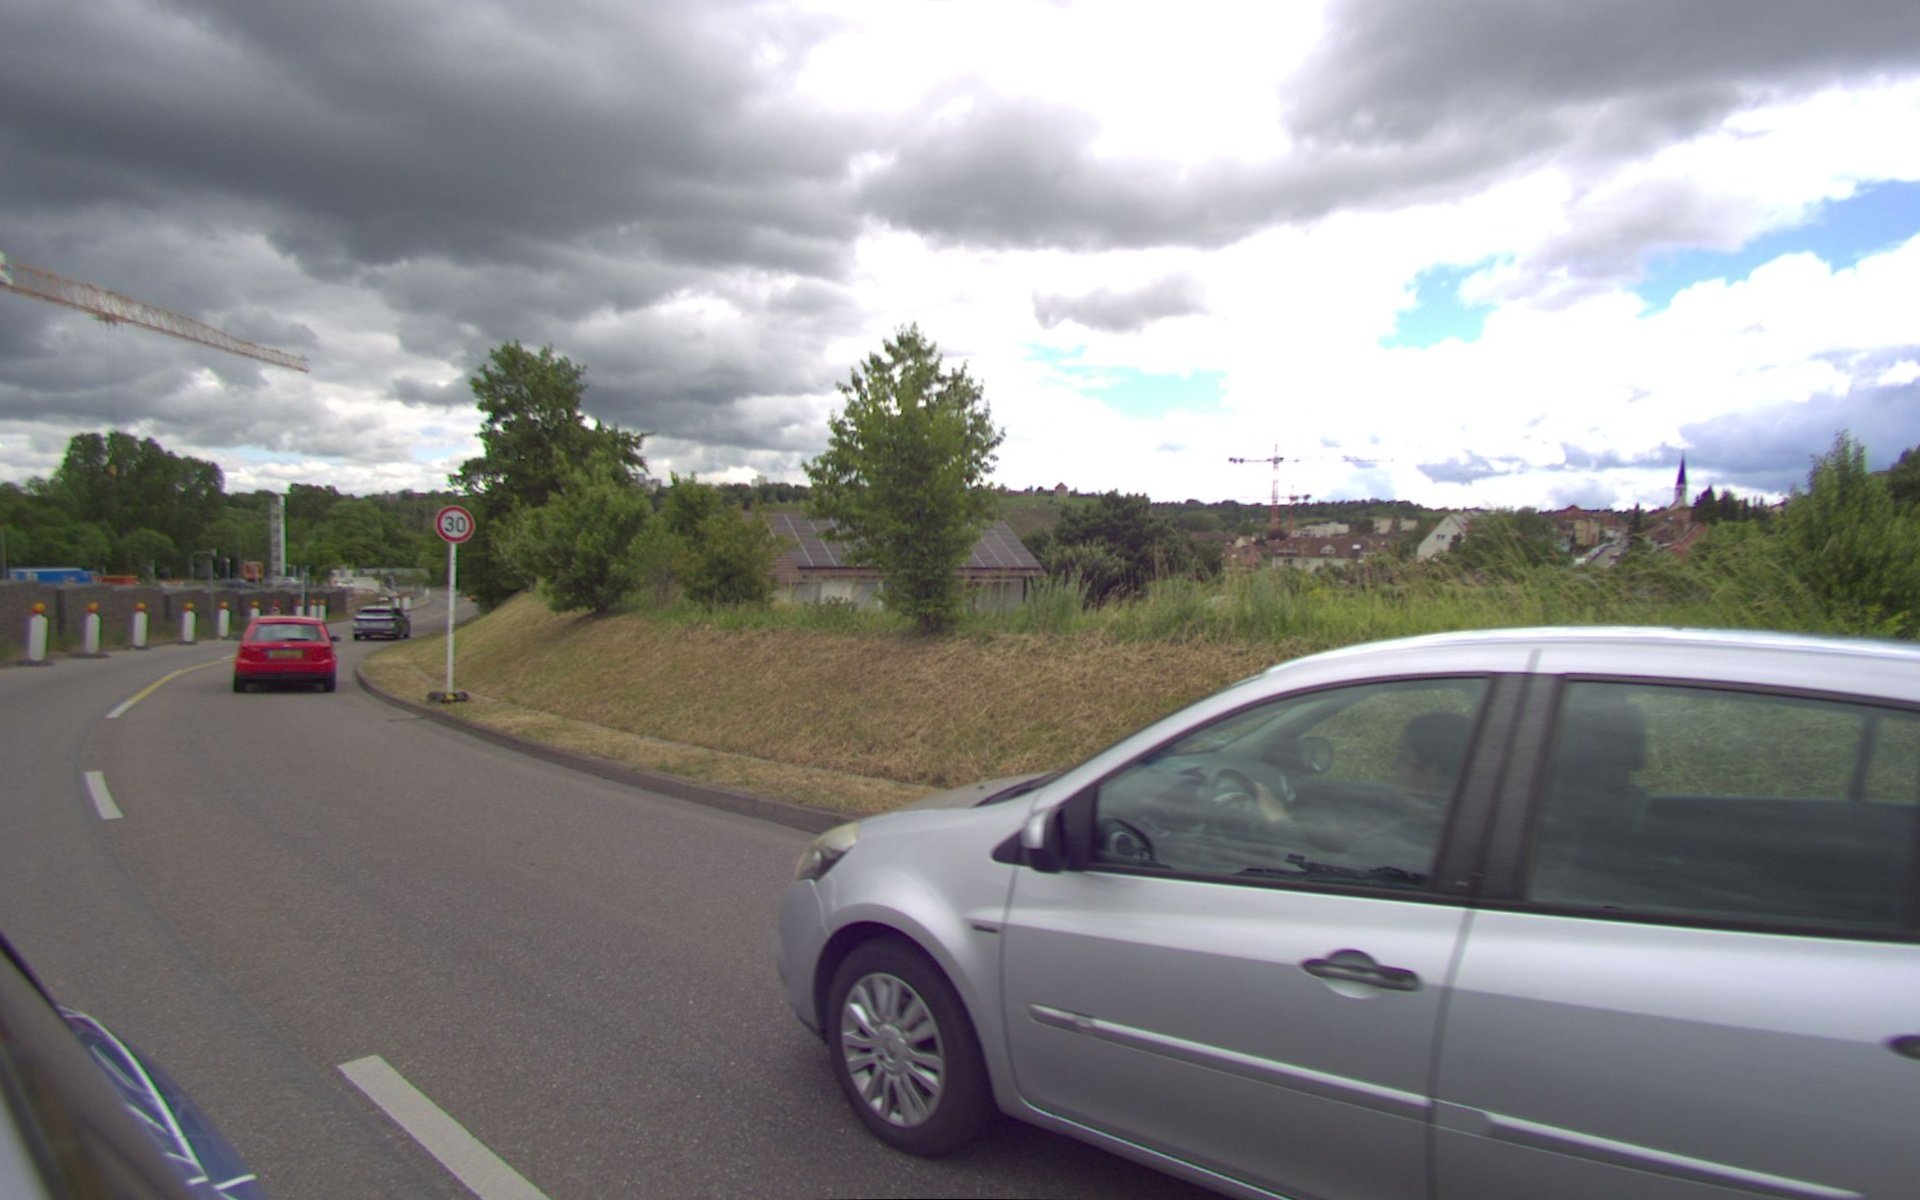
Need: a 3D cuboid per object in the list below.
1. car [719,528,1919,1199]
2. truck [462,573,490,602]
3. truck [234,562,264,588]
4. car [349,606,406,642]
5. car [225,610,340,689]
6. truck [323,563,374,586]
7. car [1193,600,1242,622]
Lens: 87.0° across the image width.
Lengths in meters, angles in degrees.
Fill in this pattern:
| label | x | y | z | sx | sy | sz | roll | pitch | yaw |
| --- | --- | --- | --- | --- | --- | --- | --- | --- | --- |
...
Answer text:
| label | x | y | z | sx | sy | sz | roll | pitch | yaw |
| --- | --- | --- | --- | --- | --- | --- | --- | --- | --- |
| car | 1.350 | 0.665 | 2.534 | 3.909 | 1.506 | 1.757 | 0 | -1 | 38 |
| truck | -52.914 | -1.307 | 110.817 | 2.183 | 3.037 | 7.765 | 2 | -1 | -22 |
| truck | -115.231 | -4.098 | 163.935 | 2.994 | 3.926 | 10.020 | -2 | 3 | -40 |
| car | -25.904 | 1.075 | 45.142 | 1.855 | 1.489 | 4.616 | 2 | -2 | -26 |
| car | -13.766 | 0.964 | 20.532 | 1.718 | 1.427 | 3.763 | 4 | -2 | -35 |
| truck | -90.567 | -3.825 | 149.876 | 7.569 | 3.282 | 2.737 | 1 | 3 | 26 |
| car | 17.522 | 0.719 | 68.771 | 3.759 | 1.243 | 1.421 | -3 | 3 | -42 |
